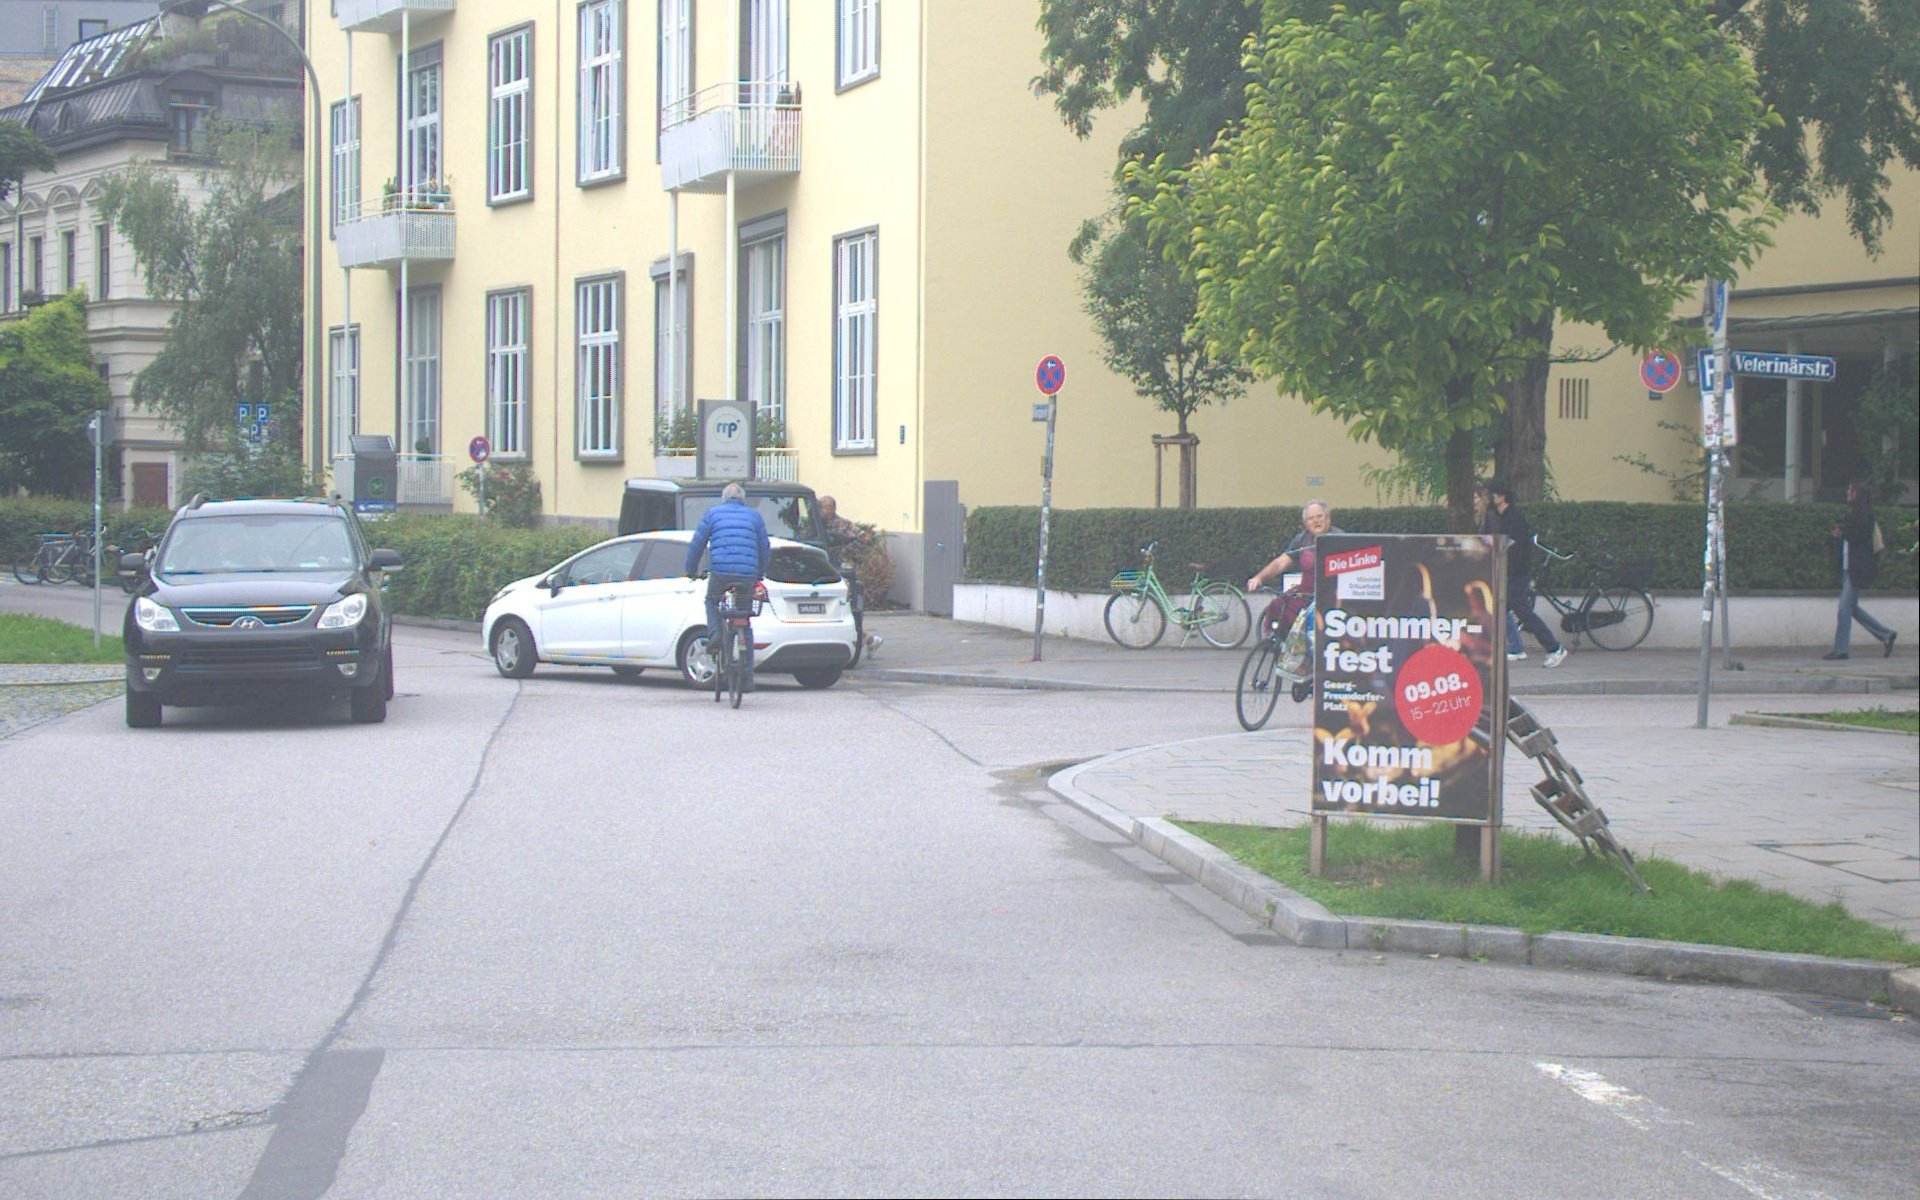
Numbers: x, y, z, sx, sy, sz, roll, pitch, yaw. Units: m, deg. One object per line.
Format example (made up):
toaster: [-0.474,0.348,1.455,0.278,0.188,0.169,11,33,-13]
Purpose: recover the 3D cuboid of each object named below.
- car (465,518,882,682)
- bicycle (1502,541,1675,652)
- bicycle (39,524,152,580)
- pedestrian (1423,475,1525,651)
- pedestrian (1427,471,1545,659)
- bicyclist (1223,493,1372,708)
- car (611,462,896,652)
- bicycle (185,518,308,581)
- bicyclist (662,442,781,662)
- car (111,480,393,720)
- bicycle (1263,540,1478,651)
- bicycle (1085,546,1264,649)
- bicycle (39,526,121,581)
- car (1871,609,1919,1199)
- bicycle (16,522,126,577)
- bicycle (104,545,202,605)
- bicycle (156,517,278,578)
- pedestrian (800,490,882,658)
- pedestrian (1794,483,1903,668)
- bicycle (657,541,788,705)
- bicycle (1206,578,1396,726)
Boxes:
car: [-2.723,-0.043,32.264,3.723,1.401,1.749,2,2,39]
bicycle: [6.495,-0.037,35.544,1.682,1.126,0.460,0,2,-6]
bicycle: [-16.111,-0.900,64.081,1.972,1.025,0.619,0,2,-42]
pedestrian: [5.145,-0.375,34.462,0.826,1.740,0.741,0,2,-6]
pedestrian: [5.098,-0.347,33.348,0.989,1.803,0.660,0,2,-6]
bicyclist: [2.596,-0.014,26.373,0.876,1.603,1.048,1,2,21]
car: [-2.277,-0.516,36.594,1.873,1.881,4.620,0,2,-19]
bicycle: [-11.938,-0.842,57.547,1.972,1.025,0.619,0,2,-42]
bicyclist: [-1.965,-0.402,28.151,0.914,1.758,1.215,0,2,-6]
car: [-5.506,-0.078,27.163,1.993,1.713,4.617,0,2,-10]
bicycle: [4.284,-0.057,35.848,2.169,1.112,0.640,1,2,12]
bicycle: [2.295,-0.026,36.940,1.948,1.081,0.528,0,0,38]
bicycle: [-16.953,-0.906,66.263,0.409,1.011,1.534,2,3,45]
car: [3.110,0.828,5.440,1.714,1.390,4.001,4,1,-8]
bicycle: [-17.043,-0.971,65.935,1.972,1.025,0.619,0,2,-42]
bicycle: [-14.208,-0.444,60.578,0.533,1.025,1.975,1,1,27]
bicycle: [-12.635,-0.887,58.505,1.972,1.025,0.619,0,2,-42]
pedestrian: [-1.265,-0.287,36.489,0.848,1.751,0.954,0,2,-3]
pedestrian: [9.029,-0.260,34.949,0.850,1.851,0.767,-1,1,-6]
bicycle: [-1.970,0.161,28.242,0.920,1.248,2.322,0,2,-8]
bicycle: [2.649,0.377,26.511,0.877,1.016,2.188,1,2,22]
